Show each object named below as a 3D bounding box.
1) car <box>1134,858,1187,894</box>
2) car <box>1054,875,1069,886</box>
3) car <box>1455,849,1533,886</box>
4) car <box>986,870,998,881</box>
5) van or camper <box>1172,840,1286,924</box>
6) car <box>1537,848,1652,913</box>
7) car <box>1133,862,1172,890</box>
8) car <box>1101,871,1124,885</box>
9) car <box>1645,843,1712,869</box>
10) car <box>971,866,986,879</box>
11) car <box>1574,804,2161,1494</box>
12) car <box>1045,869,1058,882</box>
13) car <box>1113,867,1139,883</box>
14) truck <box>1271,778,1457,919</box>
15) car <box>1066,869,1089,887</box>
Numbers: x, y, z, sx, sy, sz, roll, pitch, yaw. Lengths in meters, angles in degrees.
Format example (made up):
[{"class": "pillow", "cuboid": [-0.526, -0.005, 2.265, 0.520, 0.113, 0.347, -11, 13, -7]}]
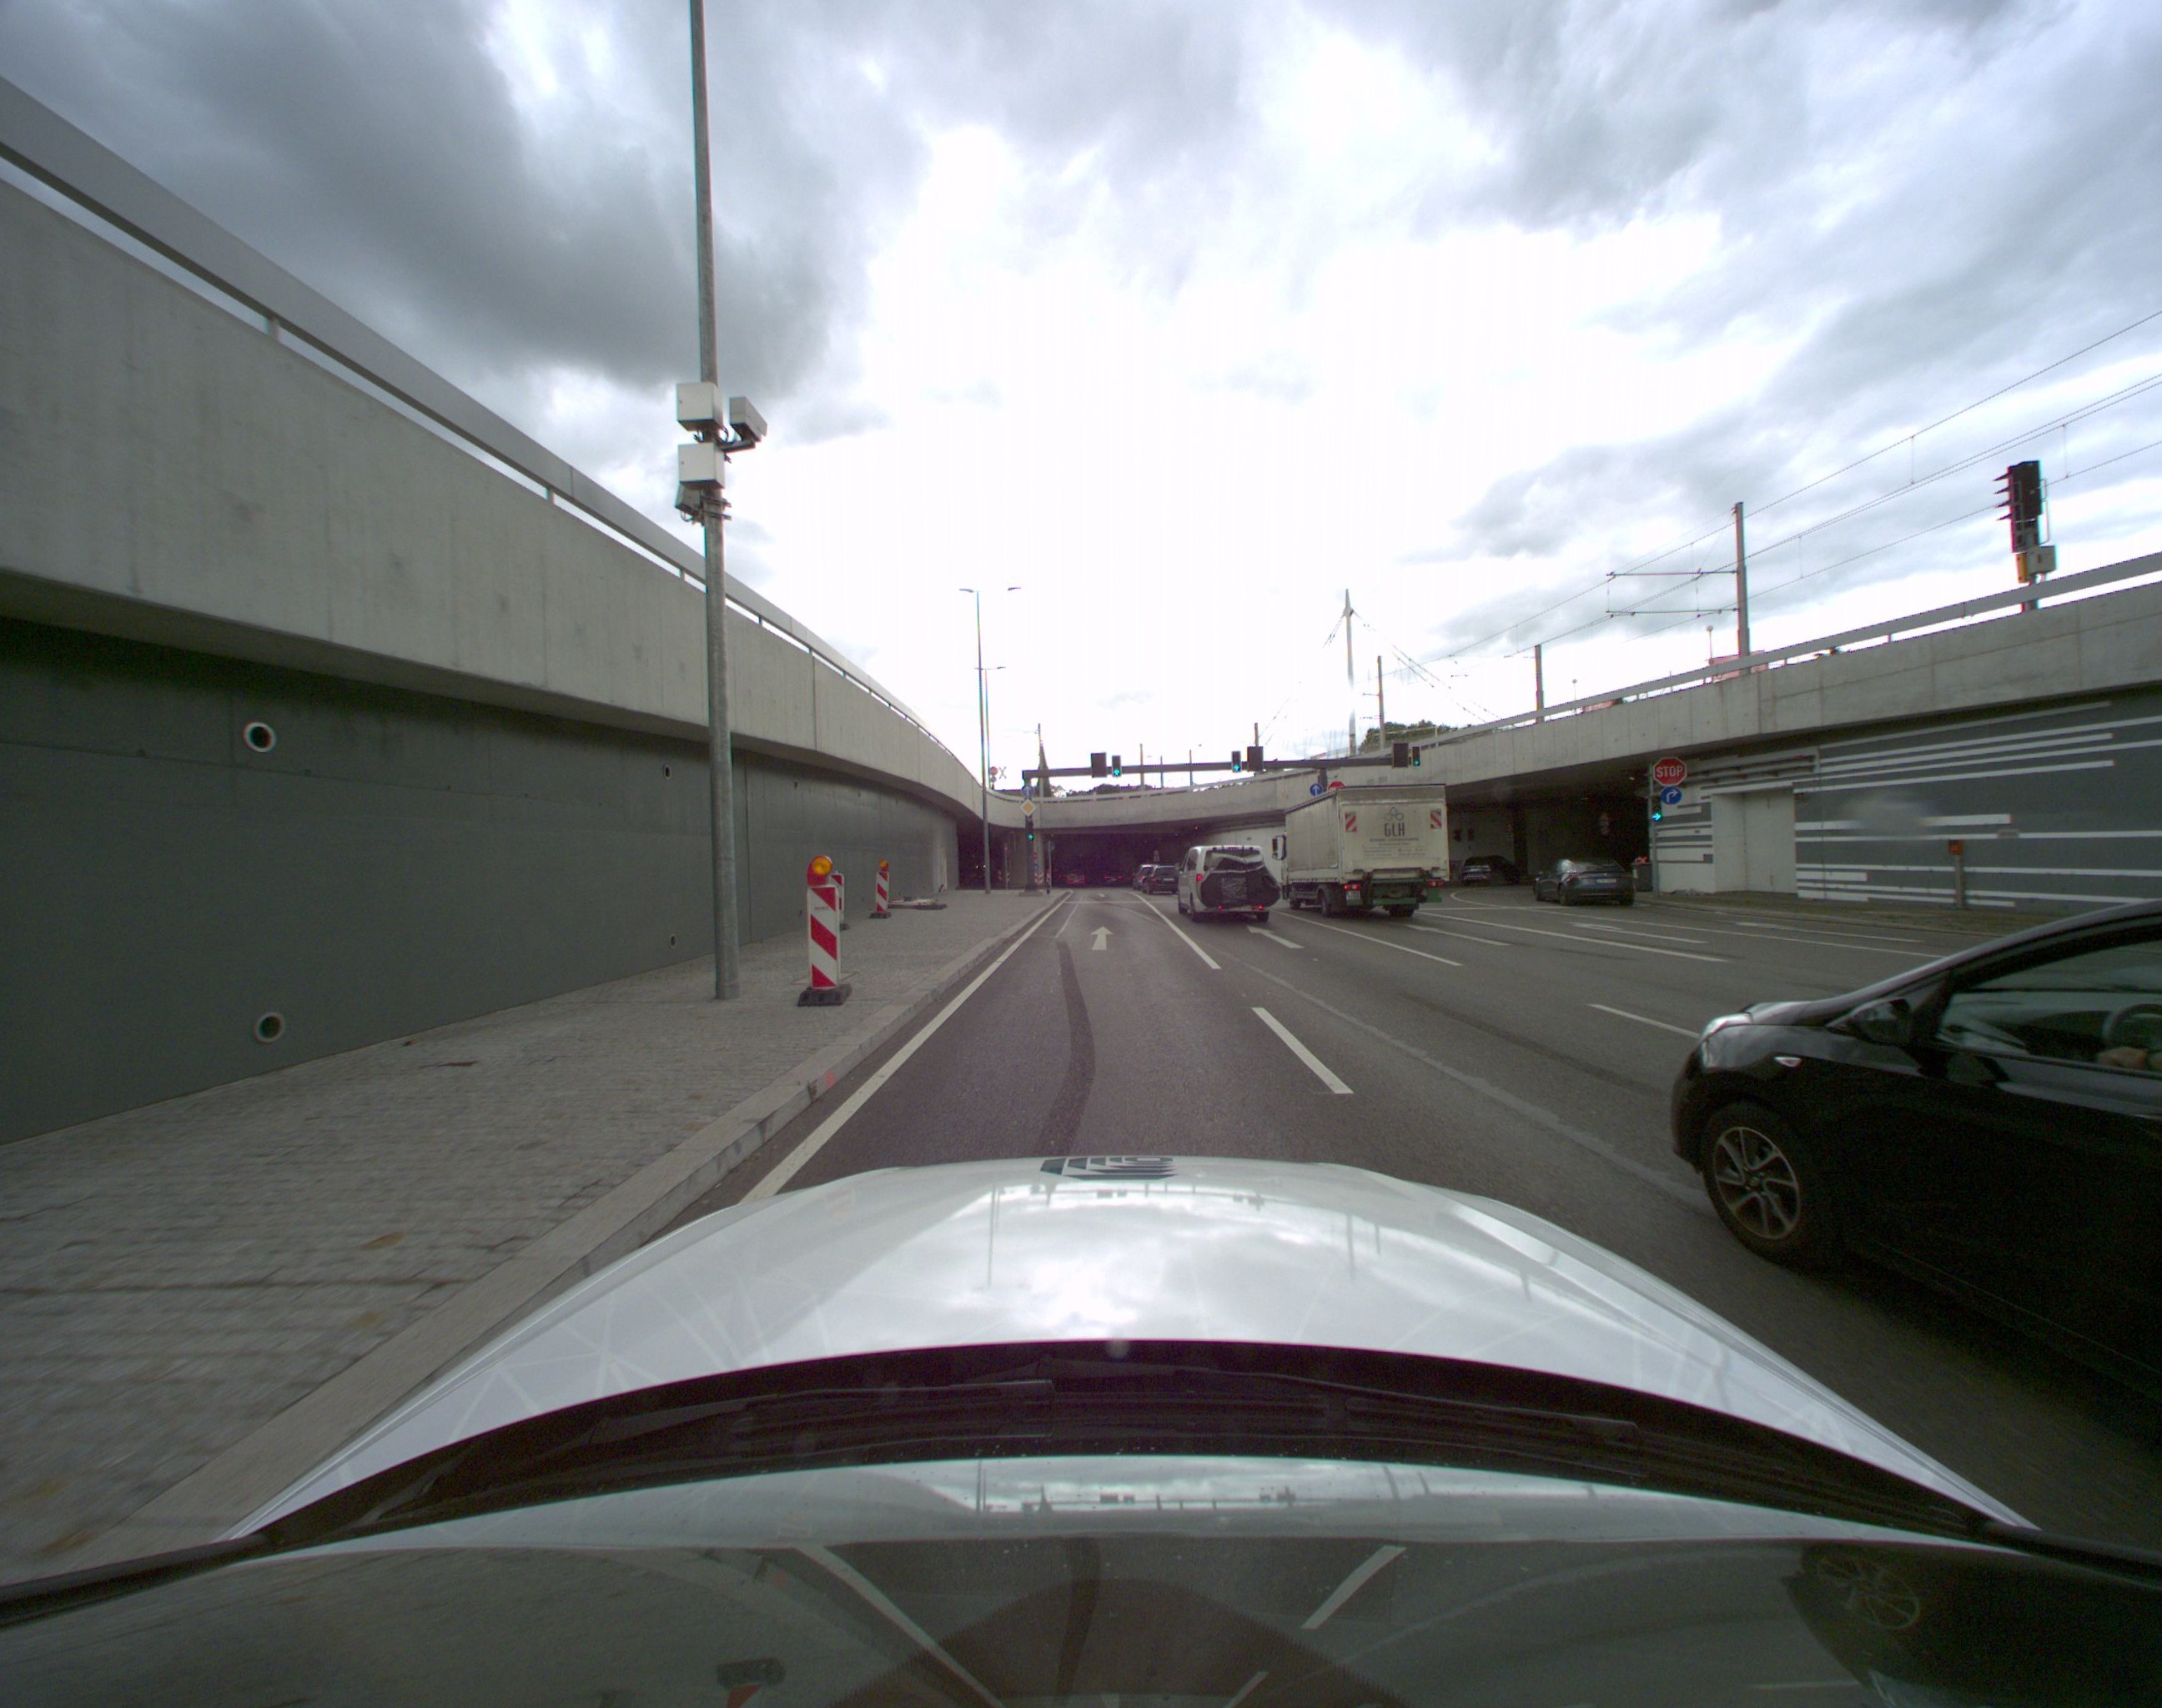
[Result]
[{"class": "car", "cuboid": [3.825, 1.046, 39.857, 1.817, 1.684, 3.990, 0, -1, -7]}, {"class": "car", "cuboid": [-2.338, 3.154, 97.487, 1.506, 1.247, 3.560, -1, -2, -5]}, {"class": "car", "cuboid": [21.760, 0.716, 42.871, 4.015, 1.588, 1.814, -5, 1, -32]}, {"class": "car", "cuboid": [-13.758, 3.327, 126.031, 1.806, 1.604, 4.778, -2, 0, -6]}, {"class": "van or camper", "cuboid": [3.576, 0.701, 20.732, 1.986, 1.845, 5.508, 0, -2, 1]}, {"class": "car", "cuboid": [15.524, 0.739, 24.893, 1.977, 1.401, 4.491, -5, 2, 20]}, {"class": "car", "cuboid": [4.309, 1.308, 49.535, 1.814, 1.580, 3.996, 2, -1, -2]}, {"class": "car", "cuboid": [2.910, 2.211, 75.382, 1.661, 1.247, 3.560, -1, -2, -5]}, {"class": "car", "cuboid": [38.350, 0.110, 52.255, 3.668, 1.333, 1.678, -5, 3, -19]}, {"class": "car", "cuboid": [-12.175, 2.176, 96.809, 1.664, 1.441, 4.100, -2, 0, -9]}, {"class": "car", "cuboid": [3.255, 0.657, 2.139, 1.676, 1.545, 3.692, 0, 0, 0]}, {"class": "car", "cuboid": [-4.830, 3.477, 134.422, 1.990, 2.013, 3.994, -1, 0, -4]}, {"class": "car", "cuboid": [4.940, 2.338, 89.557, 1.989, 1.676, 4.495, -1, -2, -8]}, {"class": "truck", "cuboid": [7.396, -0.088, 22.515, 2.640, 3.185, 7.427, -2, -1, 1]}, {"class": "car", "cuboid": [-0.325, 2.022, 68.350, 1.657, 1.488, 3.560, -1, -2, -5]}]
